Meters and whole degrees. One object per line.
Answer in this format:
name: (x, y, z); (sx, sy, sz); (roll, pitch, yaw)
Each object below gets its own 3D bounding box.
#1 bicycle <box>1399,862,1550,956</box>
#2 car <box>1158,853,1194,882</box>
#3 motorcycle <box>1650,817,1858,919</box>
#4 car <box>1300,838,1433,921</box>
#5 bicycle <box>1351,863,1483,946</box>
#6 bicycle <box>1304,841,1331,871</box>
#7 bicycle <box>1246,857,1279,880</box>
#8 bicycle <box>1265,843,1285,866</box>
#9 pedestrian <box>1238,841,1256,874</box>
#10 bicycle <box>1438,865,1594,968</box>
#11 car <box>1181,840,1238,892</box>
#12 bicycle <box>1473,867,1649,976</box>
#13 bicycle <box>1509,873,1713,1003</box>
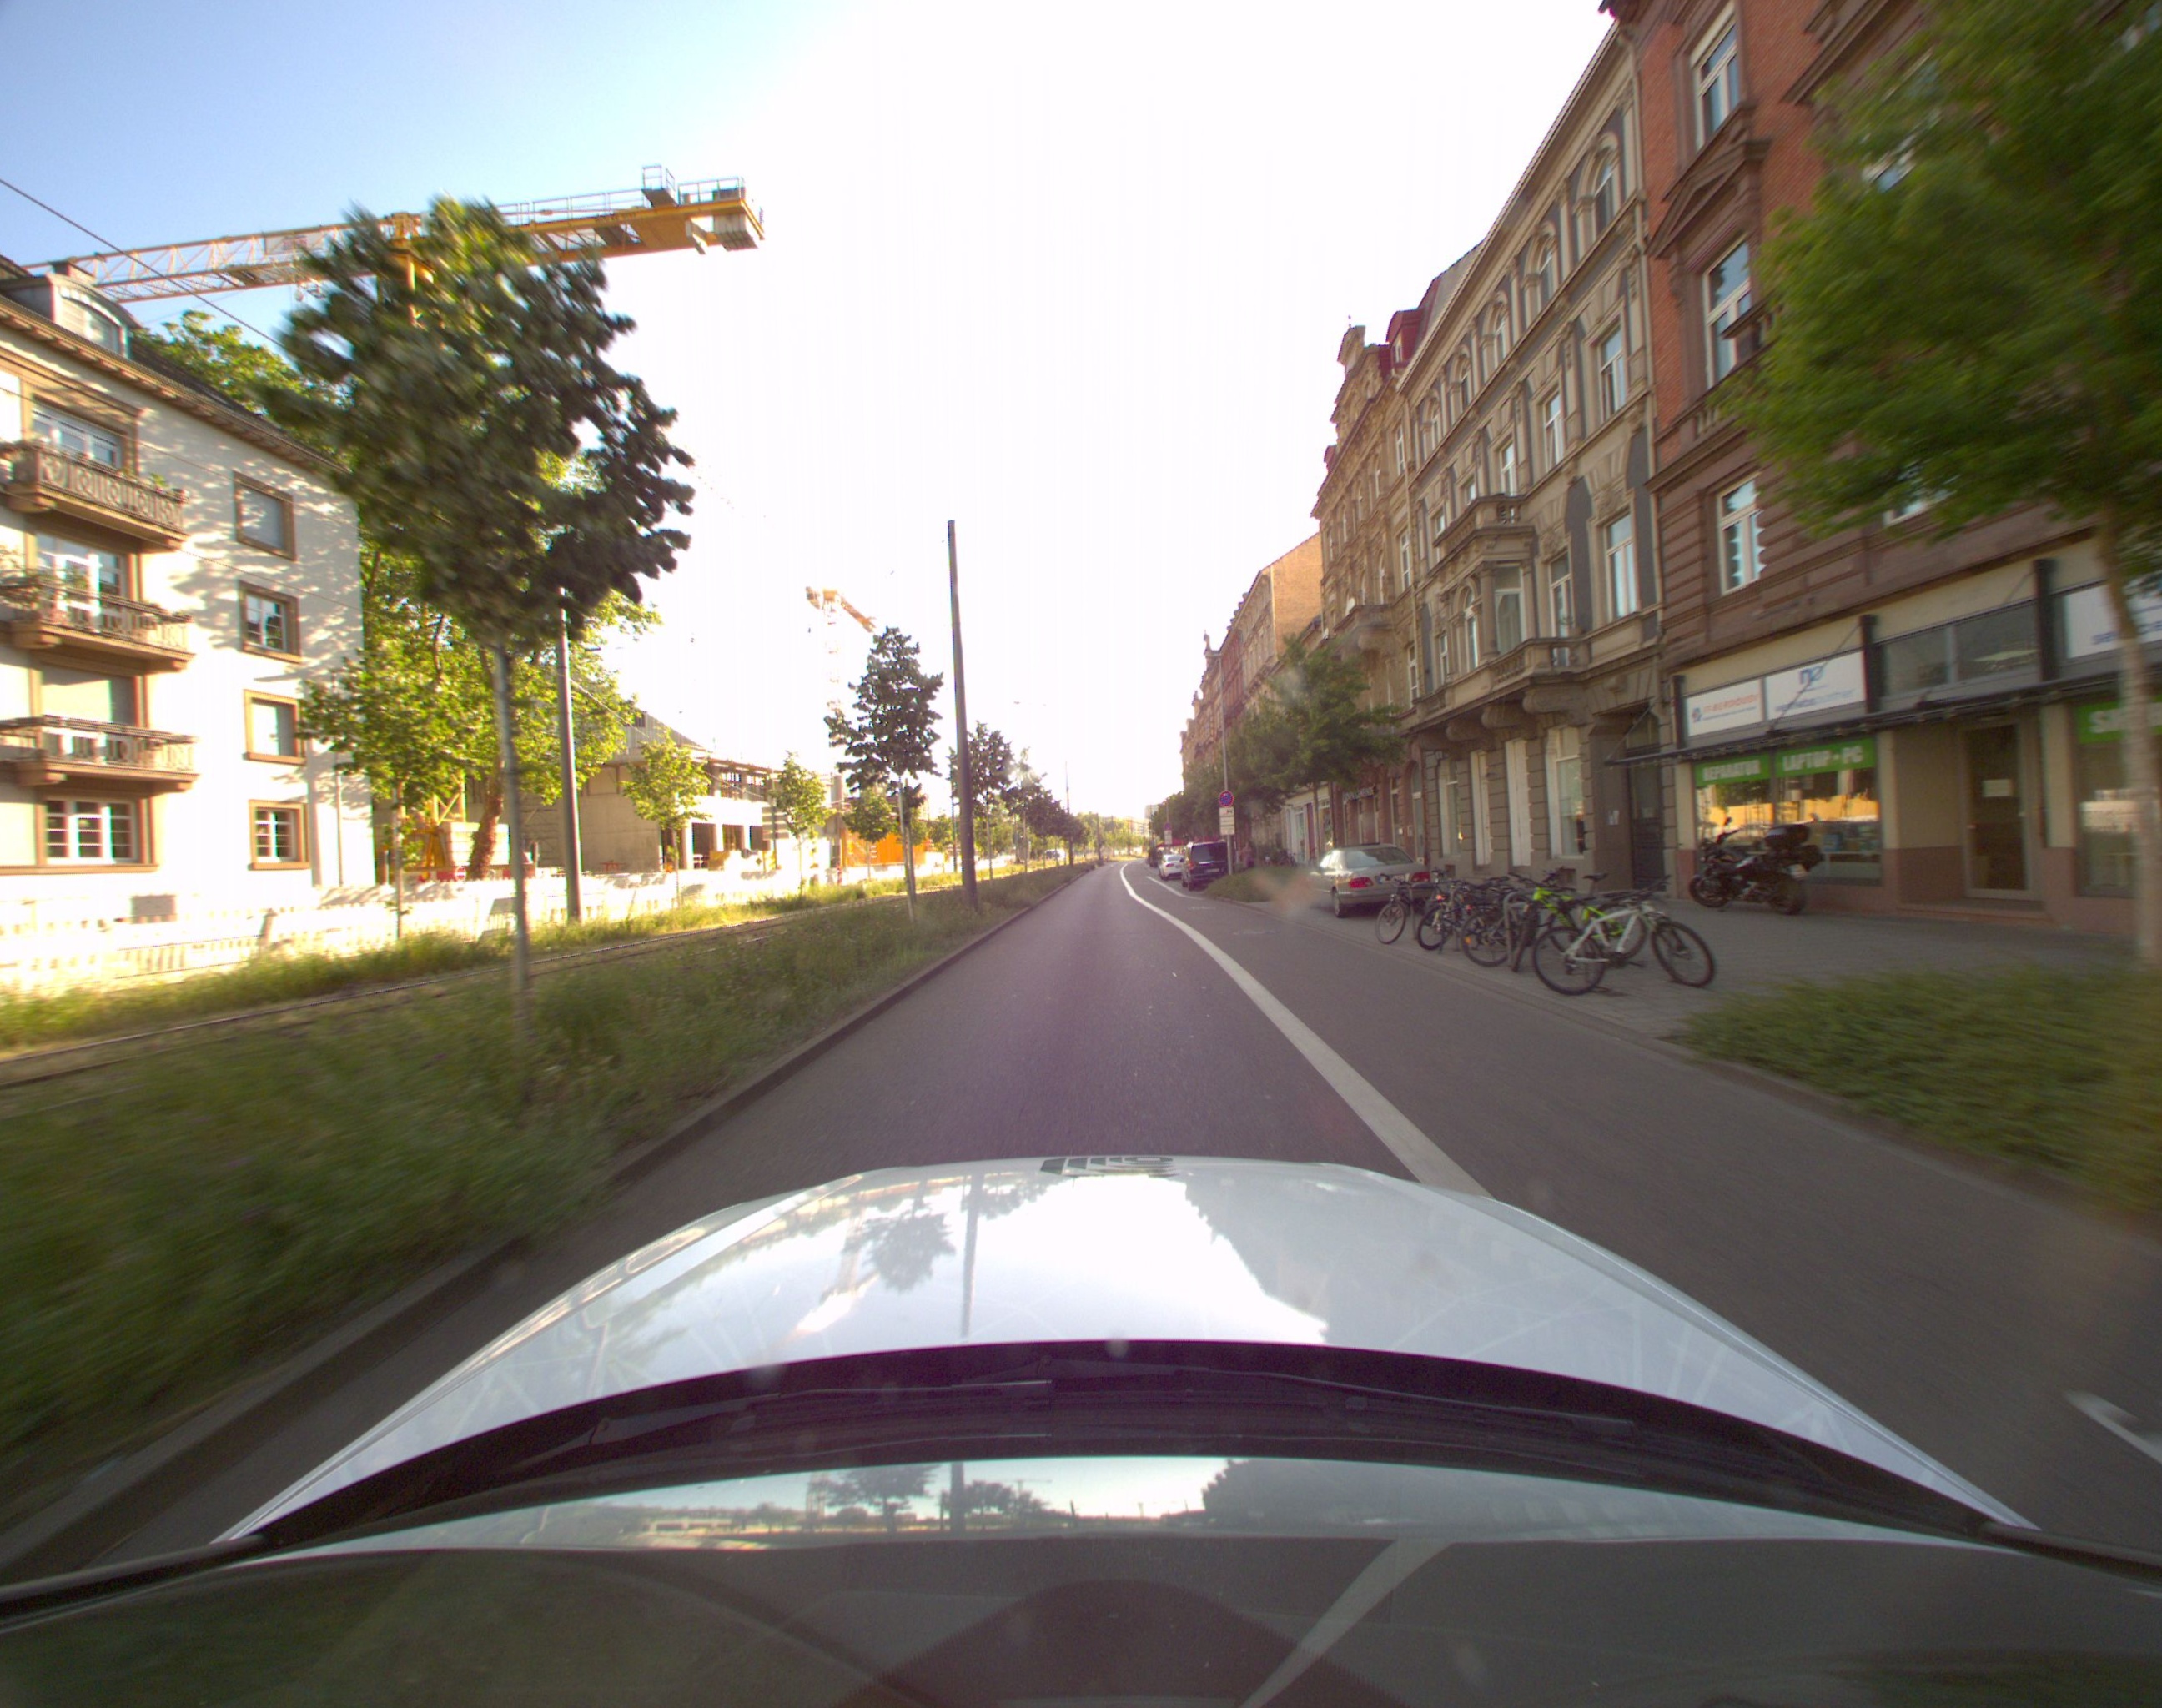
bicycle: (5.228, 0.721, 10.874); (1.685, 1.048, 0.490); (-6, 0, 2)
car: (5.540, 0.773, 47.764); (1.841, 1.457, 4.161); (-3, 1, 4)
motorcycle: (10.076, 0.173, 12.408); (0.792, 1.308, 2.853); (-5, 1, 2)
car: (6.088, 0.455, 17.868); (1.629, 1.486, 4.217); (-5, 1, 5)
bicycle: (5.056, 0.748, 12.303); (1.685, 1.048, 0.490); (-6, -1, 2)
bicycle: (11.663, 0.060, 40.219); (0.658, 1.402, 2.353); (-3, 1, 2)
bicycle: (9.193, 0.719, 41.373); (1.077, 1.084, 2.771); (-2, 0, 1)
bicycle: (12.269, 0.027, 51.592); (0.658, 1.402, 2.353); (-3, 1, 2)
pedestrian: (7.741, 0.163, 38.037); (0.623, 1.460, 0.638); (-3, 0, 1)
bicycle: (5.187, 0.727, 9.737); (1.574, 1.048, 0.488); (-5, 0, -6)
car: (5.339, 0.436, 34.346); (1.877, 1.937, 4.478); (-3, 1, 4)
bicycle: (5.402, 0.738, 9.193); (1.689, 1.048, 0.488); (-5, 0, -6)
bicycle: (4.997, 0.778, 7.720); (1.572, 1.048, 0.489); (-5, 0, -2)
